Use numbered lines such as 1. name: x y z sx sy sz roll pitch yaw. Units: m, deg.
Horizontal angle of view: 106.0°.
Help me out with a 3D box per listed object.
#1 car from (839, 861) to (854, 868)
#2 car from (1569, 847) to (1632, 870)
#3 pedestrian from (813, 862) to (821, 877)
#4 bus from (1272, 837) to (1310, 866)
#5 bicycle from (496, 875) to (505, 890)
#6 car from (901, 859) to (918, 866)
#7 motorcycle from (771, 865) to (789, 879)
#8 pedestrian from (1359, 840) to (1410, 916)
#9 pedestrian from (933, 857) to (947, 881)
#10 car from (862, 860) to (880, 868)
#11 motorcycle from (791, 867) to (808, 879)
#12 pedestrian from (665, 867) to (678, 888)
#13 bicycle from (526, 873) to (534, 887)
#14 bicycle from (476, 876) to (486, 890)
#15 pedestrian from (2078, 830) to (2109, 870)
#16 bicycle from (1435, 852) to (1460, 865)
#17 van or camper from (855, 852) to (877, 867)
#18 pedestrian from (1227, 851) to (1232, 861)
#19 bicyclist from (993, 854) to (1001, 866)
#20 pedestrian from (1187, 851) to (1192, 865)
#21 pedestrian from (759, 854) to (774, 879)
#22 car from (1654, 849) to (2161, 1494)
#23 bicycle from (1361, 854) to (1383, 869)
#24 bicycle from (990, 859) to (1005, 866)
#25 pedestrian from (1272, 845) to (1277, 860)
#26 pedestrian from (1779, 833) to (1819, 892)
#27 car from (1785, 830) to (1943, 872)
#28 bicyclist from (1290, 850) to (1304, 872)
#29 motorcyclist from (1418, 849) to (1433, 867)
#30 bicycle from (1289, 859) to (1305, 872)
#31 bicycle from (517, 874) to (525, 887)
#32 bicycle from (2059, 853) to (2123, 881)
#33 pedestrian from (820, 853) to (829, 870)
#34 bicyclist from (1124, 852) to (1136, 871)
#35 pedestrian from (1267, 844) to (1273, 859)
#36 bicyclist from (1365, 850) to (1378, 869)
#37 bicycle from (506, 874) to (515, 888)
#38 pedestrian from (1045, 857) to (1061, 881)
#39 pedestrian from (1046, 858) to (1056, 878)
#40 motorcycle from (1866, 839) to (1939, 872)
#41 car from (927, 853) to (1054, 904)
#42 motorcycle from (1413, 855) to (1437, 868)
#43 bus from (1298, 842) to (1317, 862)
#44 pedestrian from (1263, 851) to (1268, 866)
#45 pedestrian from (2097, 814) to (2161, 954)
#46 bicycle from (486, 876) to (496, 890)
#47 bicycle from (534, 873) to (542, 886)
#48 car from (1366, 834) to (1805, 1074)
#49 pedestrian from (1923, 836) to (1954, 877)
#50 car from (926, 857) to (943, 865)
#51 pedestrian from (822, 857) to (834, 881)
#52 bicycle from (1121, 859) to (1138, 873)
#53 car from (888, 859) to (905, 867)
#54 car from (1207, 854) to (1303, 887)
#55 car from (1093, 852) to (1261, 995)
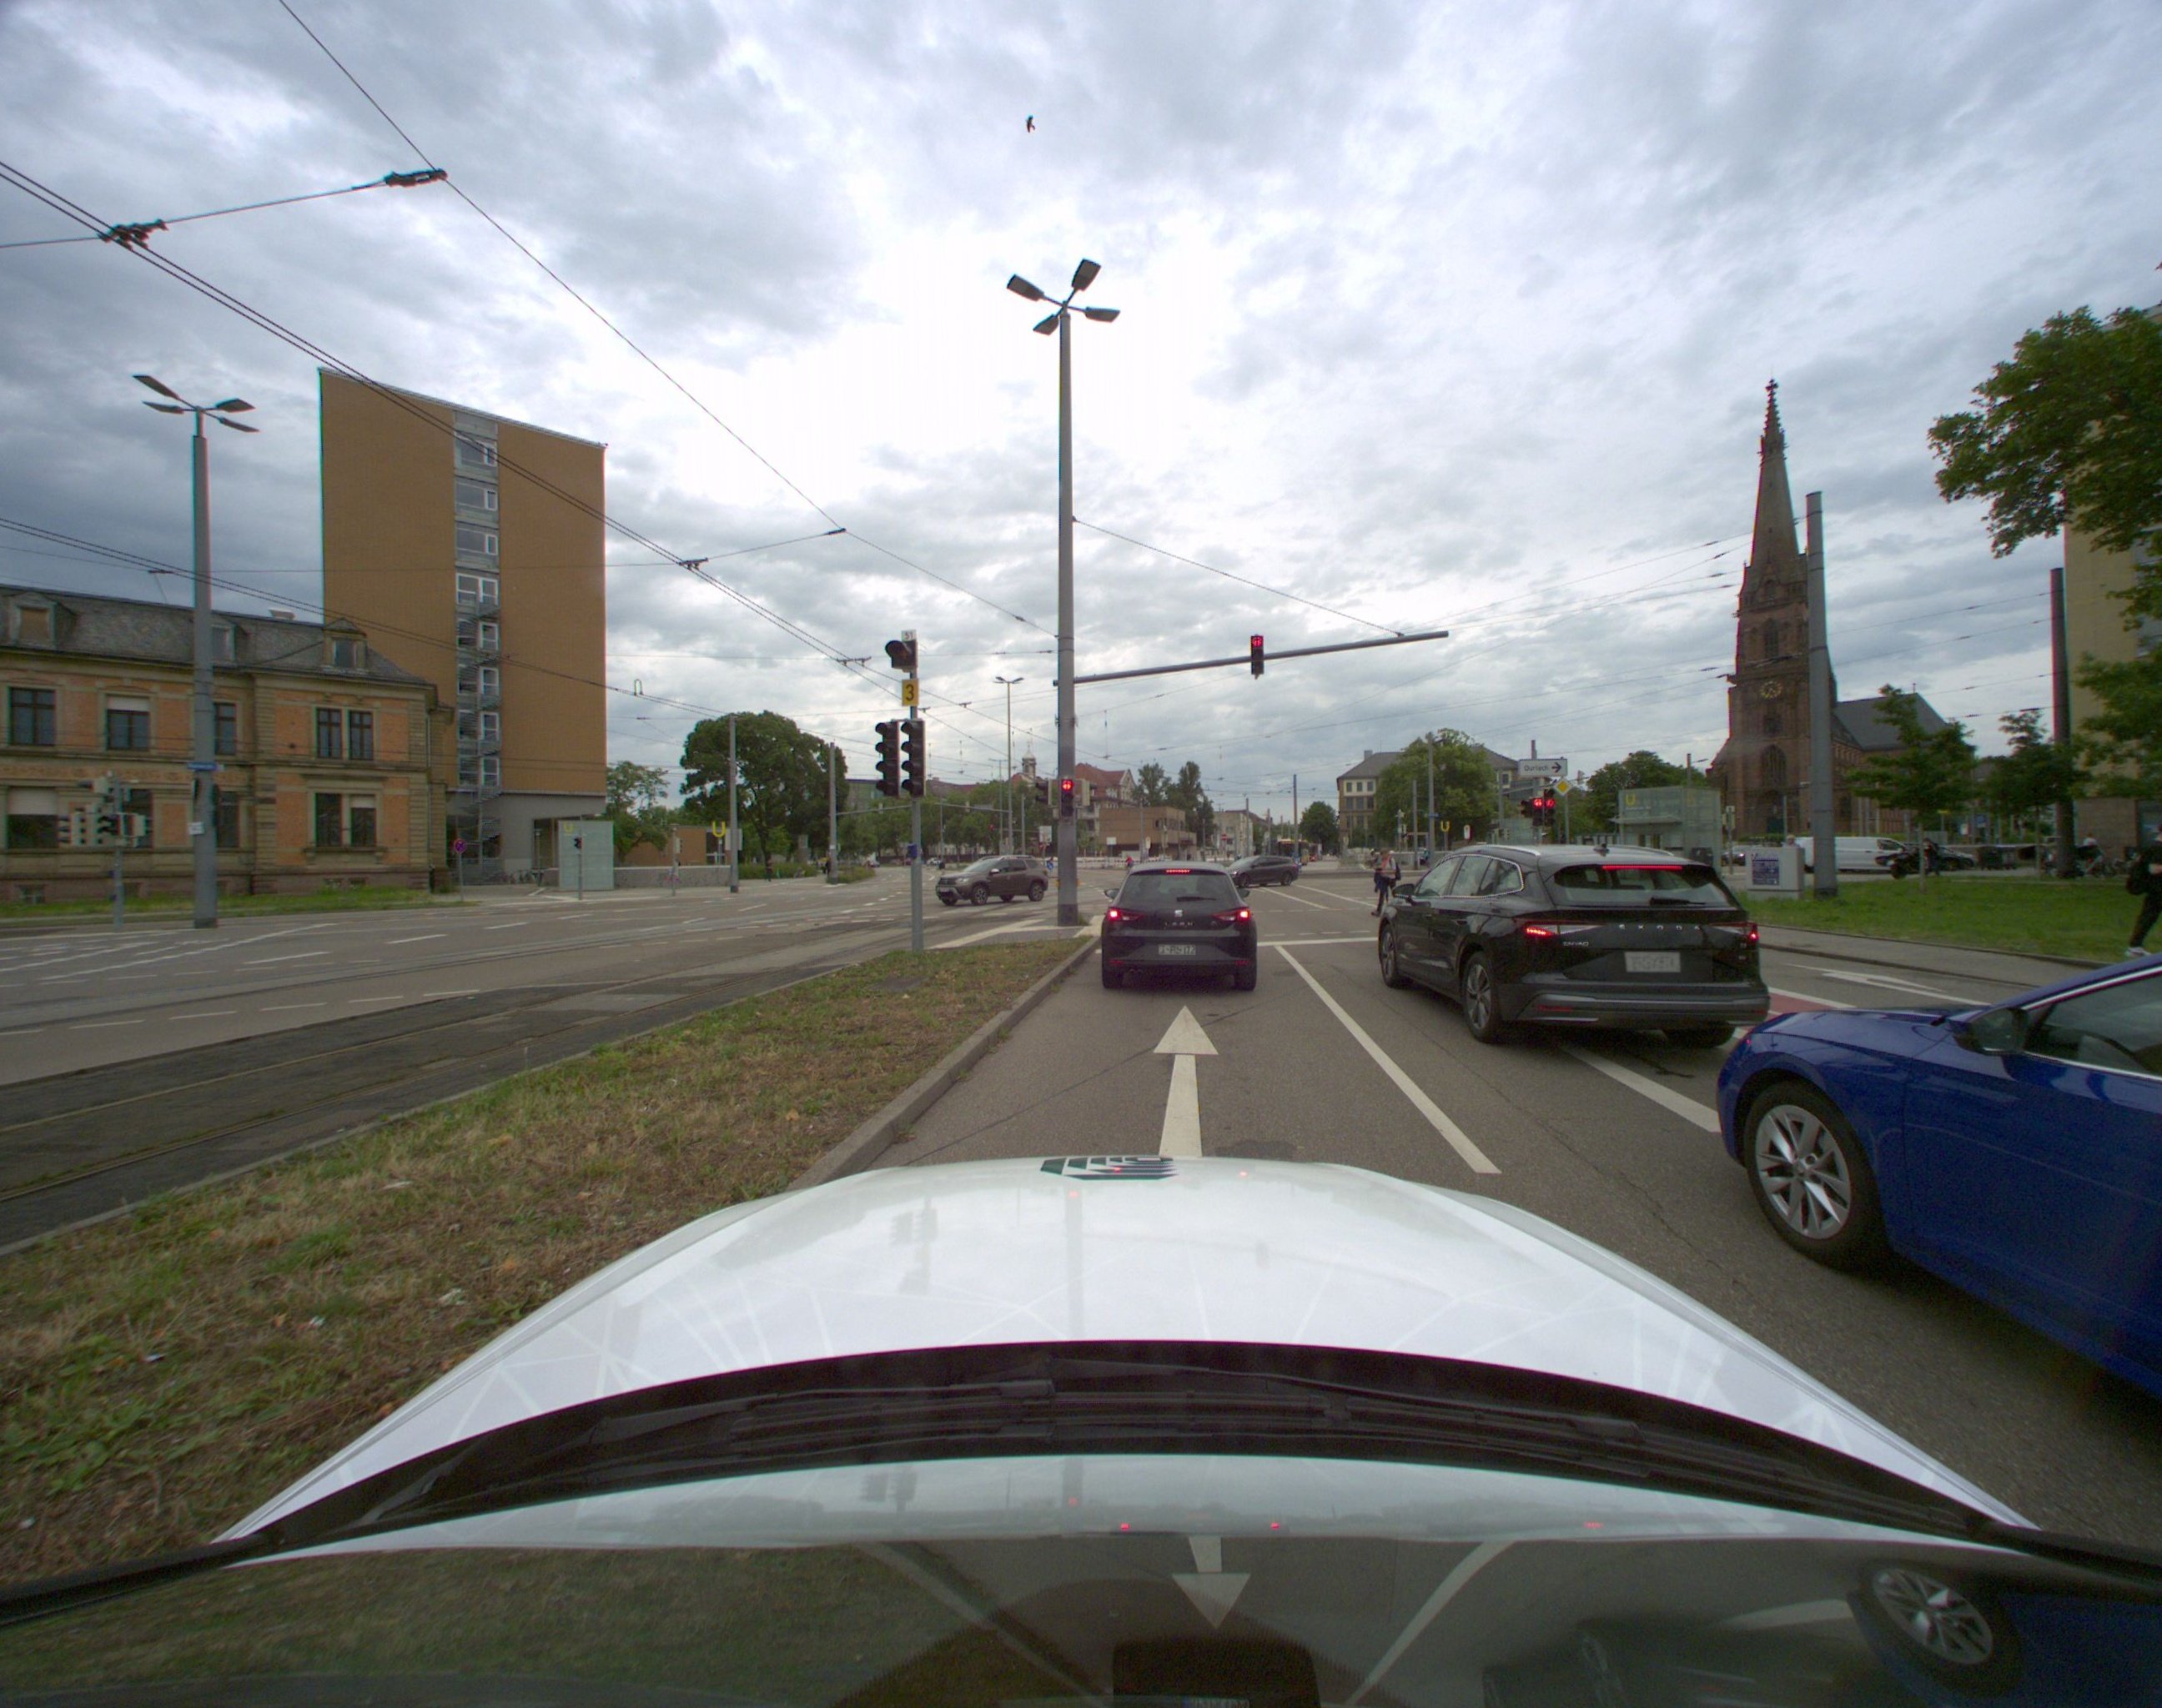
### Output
1. car: -52.353 2.294 181.782 1.790 1.464 3.954 -1 0 -39
2. car: 35.858 0.312 56.189 4.005 1.464 1.761 0 -2 -24
3. pedestrian: -36.259 2.141 111.948 0.879 1.982 0.793 -1 -2 -11
4. bus: 24.832 -0.263 95.904 2.935 3.123 11.599 -1 0 22
5. bicycle: -45.829 2.262 64.273 0.575 1.106 1.412 -1 0 -36
6. car: -34.367 1.651 162.853 1.790 1.464 3.956 -1 0 -37
7. motorcycle: -28.437 1.734 76.995 1.480 1.268 0.506 -1 -1 -39
8. pedestrian: 7.839 0.595 21.051 1.109 1.907 0.727 0 -1 -36
9. pedestrian: -11.301 1.193 65.212 1.030 1.934 0.696 -1 0 -19
10. car: -39.689 1.890 153.826 1.791 1.464 3.953 -1 0 -40
11. motorcycle: -27.245 1.829 78.800 0.506 1.111 1.753 -1 0 20
12. pedestrian: -25.961 1.481 51.612 0.577 1.336 0.493 0 -1 -44
13. bicycle: -44.312 2.097 65.502 0.484 1.049 1.412 -1 0 -35
14. bicycle: -46.794 2.265 63.547 0.575 1.106 1.412 -1 0 -36
15. pedestrian: 41.857 -0.154 33.675 0.788 1.638 0.632 0 0 -27
16. bicycle: 37.397 0.482 83.133 2.245 1.331 0.709 -1 -2 14
17. van or camper: -46.393 1.131 175.454 2.408 3.124 5.437 -1 0 -42
18. pedestrian: 27.060 0.371 148.541 0.615 1.918 0.715 -2 -2 33
19. bicyclist: -14.753 1.051 143.105 0.928 2.013 0.985 -1 0 35
20. pedestrian: 14.863 0.566 111.749 0.617 1.918 0.712 -1 -1 10
21. pedestrian: -25.882 1.025 67.027 1.021 2.014 0.842 -1 -1 -13
22. car: 3.350 0.727 1.537 1.770 1.488 4.474 -1 -1 7
23. bicycle: 25.818 0.654 72.327 1.731 1.321 0.643 -1 0 -11
24. bicycle: -14.686 1.468 143.142 0.930 1.179 2.747 -1 0 36
25. pedestrian: 25.424 -0.220 106.927 0.616 1.918 0.701 -1 -1 16
26. pedestrian: 24.195 0.280 27.436 1.023 1.930 0.879 0 -1 -41
27. car: 41.472 -0.132 43.347 5.667 2.014 2.039 -2 -2 24
28. bicyclist: 18.291 0.580 68.945 0.868 1.851 1.048 -1 0 1
29. motorcyclist: 30.580 0.361 72.308 0.982 1.649 0.743 -1 -1 -26
30. bicycle: 18.322 0.959 69.106 0.862 1.104 2.303 -1 0 2
31. bicycle: -44.762 2.123 65.101 0.512 1.049 1.412 -1 0 -35
32. bicycle: 34.228 0.442 27.606 0.595 0.917 1.255 0 0 -23
33. pedestrian: -29.903 0.884 95.008 0.798 1.982 0.873 0 -2 -28
34. bicyclist: 4.396 0.684 72.893 0.884 1.732 0.890 -1 0 -15
35. pedestrian: 25.077 -0.353 108.128 0.617 1.918 0.712 -1 -1 10
36. bicyclist: 25.812 0.452 72.336 0.854 1.673 0.652 -1 -1 -10
37. bicycle: -45.303 2.127 64.704 0.575 1.106 1.412 -1 0 -36
38. pedestrian: -2.317 1.233 66.981 1.036 1.934 0.692 -1 -1 -45
39. pedestrian: -2.283 1.048 62.776 0.726 1.542 0.417 -1 -1 -6
40. motorcycle: 29.844 0.046 29.599 2.382 1.168 0.763 -1 0 -14
41. car: -3.134 0.804 28.749 4.254 1.640 1.781 0 -1 -45
42. motorcycle: 30.539 0.658 72.276 2.145 1.139 0.738 -1 0 -26
43. bus: 38.426 -0.315 137.915 2.632 3.283 11.046 -1 0 18
44. pedestrian: 24.152 0.586 106.640 0.616 1.918 0.701 -1 -1 16
45. pedestrian: 14.401 0.390 10.892 0.539 1.844 0.976 -1 0 -37
46. bicycle: -46.310 2.256 63.910 0.575 1.106 1.412 -1 0 -36
47. bicycle: -43.881 2.077 65.816 0.484 1.049 1.412 -1 0 -35
48. car: 4.171 0.675 7.743 1.768 1.597 4.517 -1 0 6
49. pedestrian: 35.006 0.103 33.249 0.874 1.638 0.632 0 0 -26
50. car: -27.084 1.309 150.750 1.787 1.464 3.961 0 0 -31
51. pedestrian: -22.026 1.299 70.841 0.929 2.014 1.007 -1 -2 -13
52. bicycle: 4.357 1.045 73.075 0.893 1.178 2.290 -1 0 -14
53. car: -38.215 1.875 168.786 1.790 1.464 3.954 -1 0 -39
54. car: 8.198 0.752 38.327 4.405 1.396 1.682 -1 0 -30
55. car: 1.089 0.718 10.267 1.697 1.449 3.815 -1 0 3
